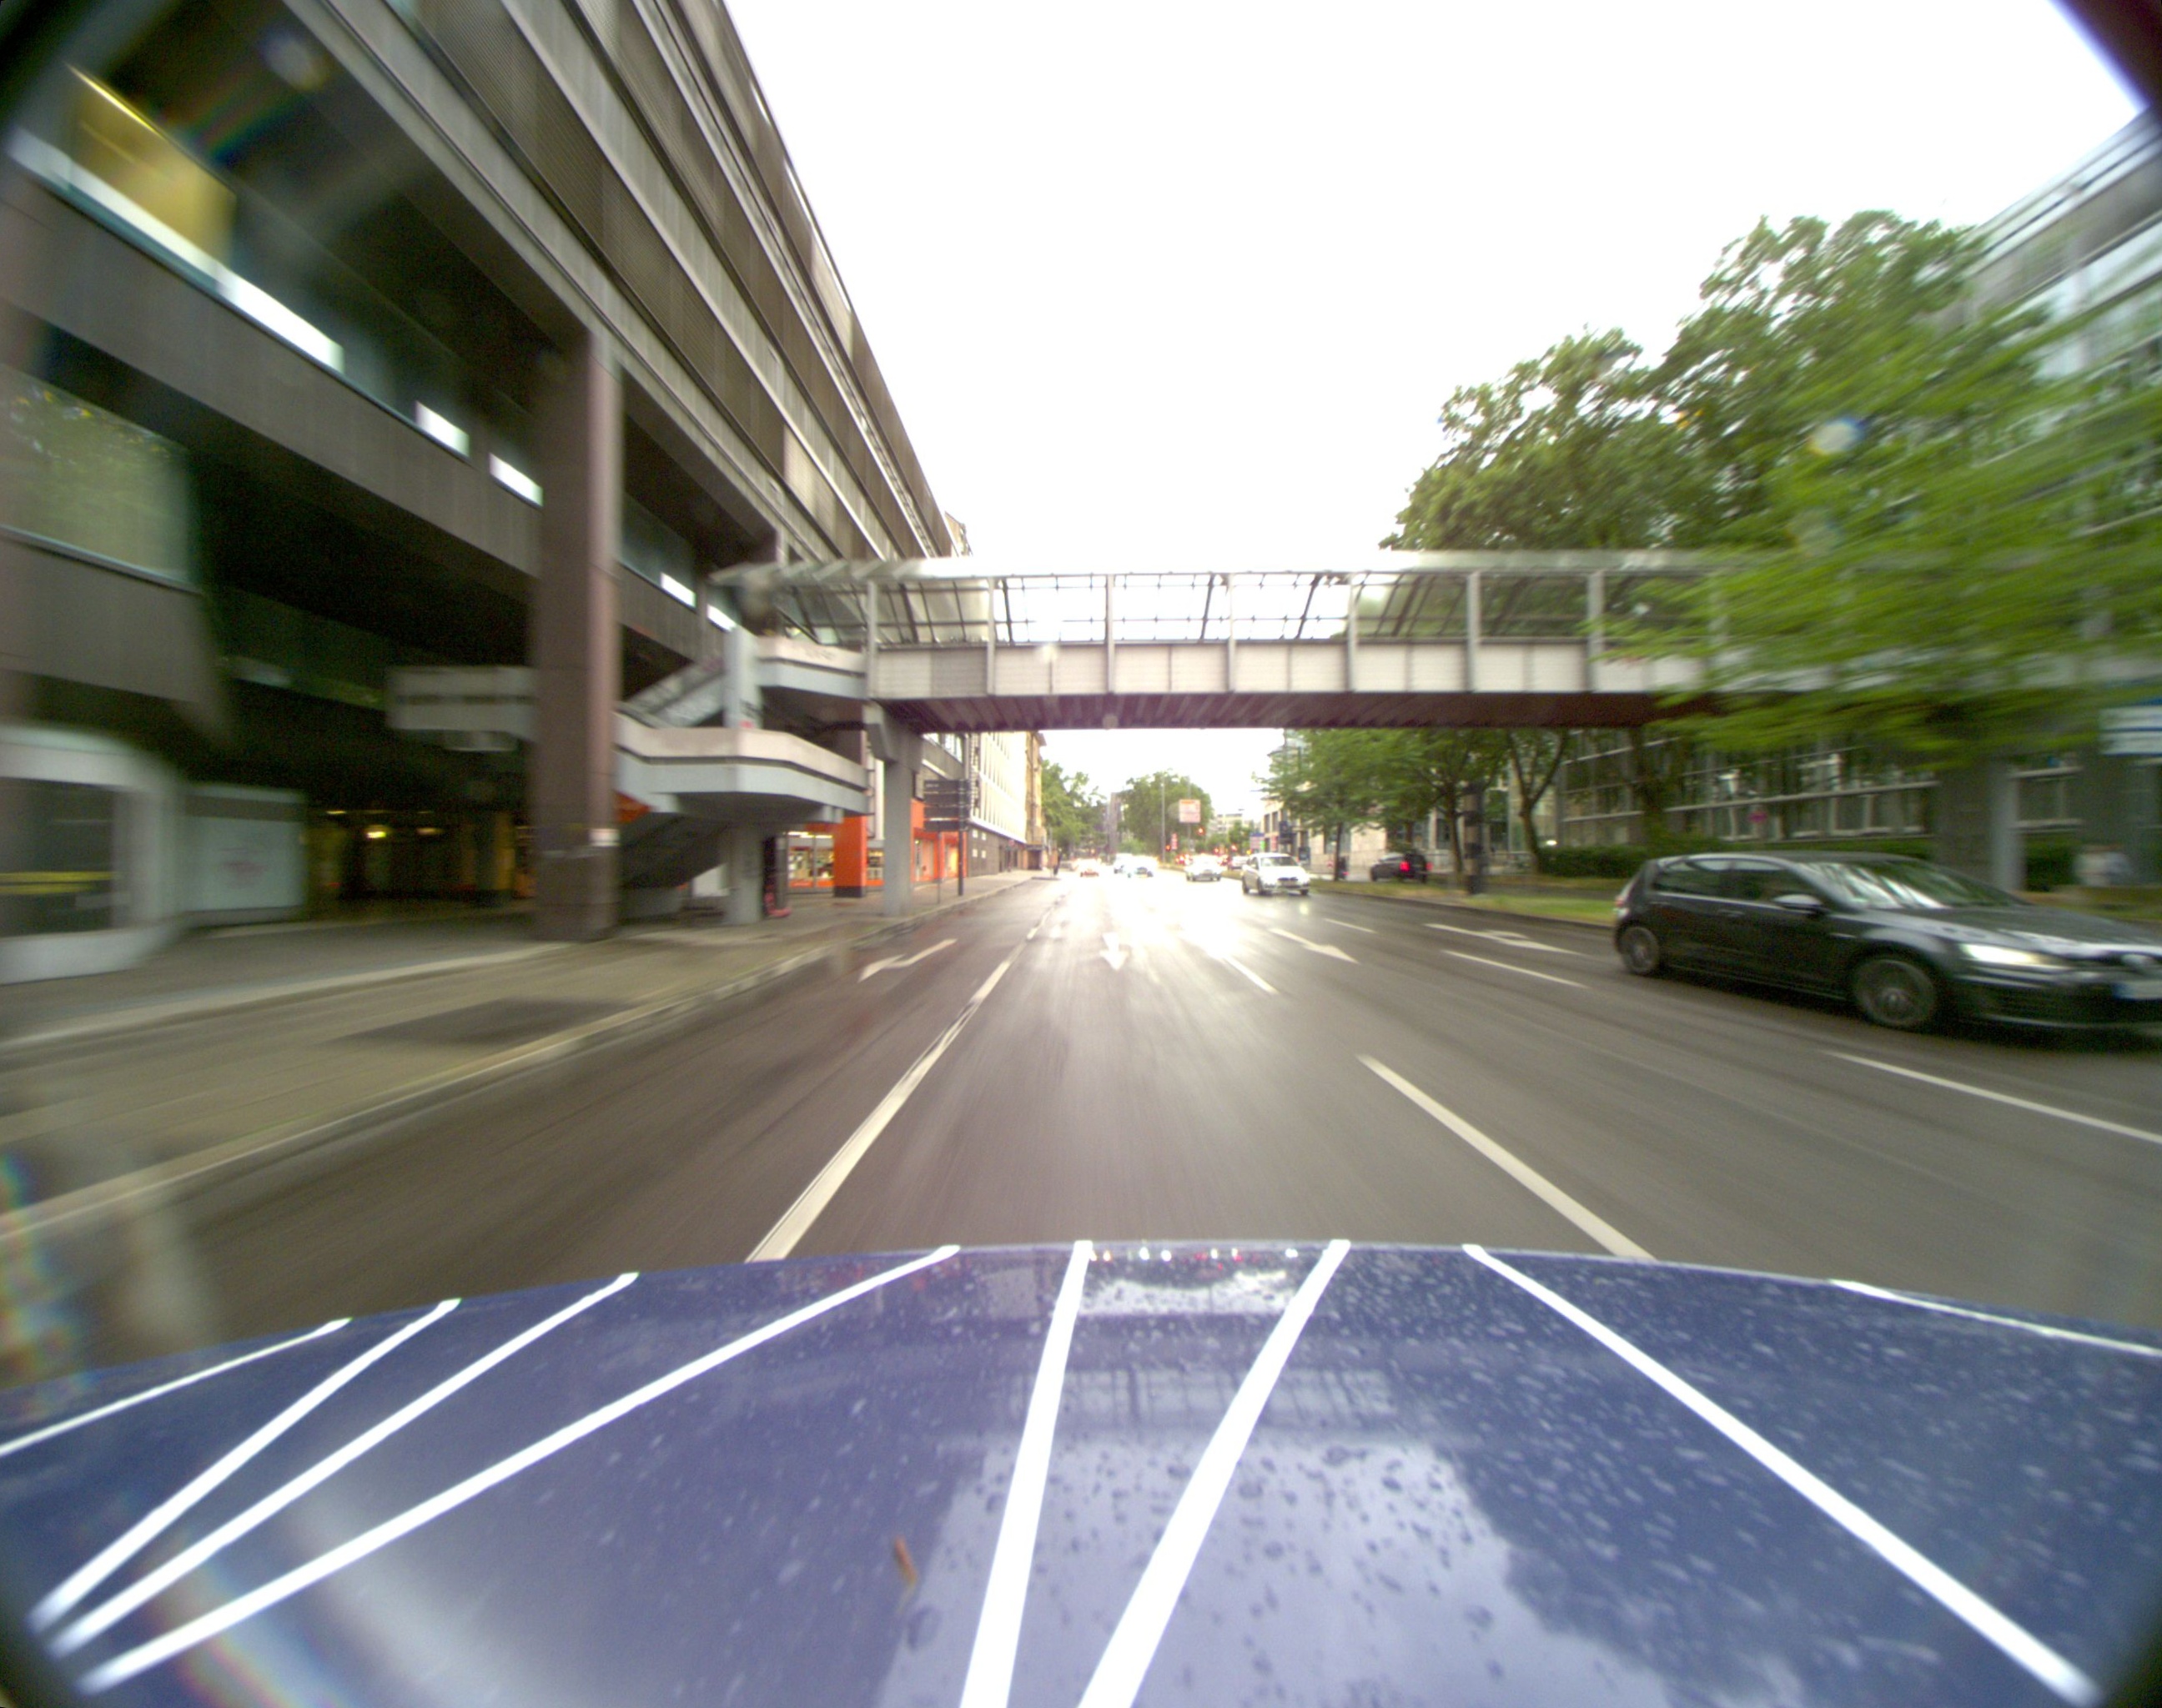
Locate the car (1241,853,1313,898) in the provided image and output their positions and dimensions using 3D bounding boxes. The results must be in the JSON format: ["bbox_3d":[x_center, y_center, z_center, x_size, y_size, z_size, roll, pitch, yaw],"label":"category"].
[{"bbox_3d":[7.477,0.777,29.381,1.781,1.587,4.000,-1,1,1],"label":"car"}]

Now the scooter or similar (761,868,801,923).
[{"bbox_3d":[-7.202,0.964,18.278,0.350,1.248,1.395,-1,0,1],"label":"scooter or similar"}]

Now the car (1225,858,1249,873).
[{"bbox_3d":[17.083,1.250,83.175,1.666,1.455,4.080,2,0,-1],"label":"car"}]

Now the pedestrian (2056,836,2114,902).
[{"bbox_3d":[27.805,0.405,21.054,0.598,1.797,0.760,-1,0,1],"label":"pedestrian"}]

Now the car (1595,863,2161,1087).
[{"bbox_3d":[7.224,0.838,7.195,1.789,1.444,4.122,-1,0,-2],"label":"car"}]

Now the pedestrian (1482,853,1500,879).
[{"bbox_3d":[28.188,0.840,52.238,0.736,1.797,0.802,-1,0,1],"label":"pedestrian"}]

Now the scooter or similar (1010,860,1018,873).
[{"bbox_3d":[-6.565,1.187,74.261,0.412,1.229,1.190,-1,0,10],"label":"scooter or similar"}]

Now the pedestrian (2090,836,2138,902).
[{"bbox_3d":[28.585,0.414,21.026,0.607,1.797,0.511,-1,0,1],"label":"pedestrian"}]

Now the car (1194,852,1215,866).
[{"bbox_3d":[15.235,0.633,93.947,1.878,1.670,4.680,0,1,1],"label":"car"}]

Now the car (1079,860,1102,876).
[{"bbox_3d":[0.860,1.170,64.793,1.716,1.274,3.495,0,0,4],"label":"car"}]

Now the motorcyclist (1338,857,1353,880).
[{"bbox_3d":[16.853,0.910,48.508,0.639,1.410,0.970,0,1,1],"label":"motorcyclist"}]

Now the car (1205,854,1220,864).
[{"bbox_3d":[20.115,0.708,116.240,1.730,1.424,4.396,0,1,4],"label":"car"}]

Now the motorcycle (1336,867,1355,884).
[{"bbox_3d":[16.842,1.353,48.436,0.586,1.015,1.805,-1,0,1],"label":"motorcycle"}]

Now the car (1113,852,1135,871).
[{"bbox_3d":[4.034,0.724,72.335,1.998,1.733,3.910,-1,0,2],"label":"car"}]

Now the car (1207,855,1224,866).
[{"bbox_3d":[18.603,0.927,105.272,1.695,1.430,4.759,0,1,1],"label":"car"}]

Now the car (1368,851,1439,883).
[{"bbox_3d":[19.547,0.734,46.338,2.005,1.758,5.184,3,0,-1],"label":"car"}]

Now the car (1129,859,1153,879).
[{"bbox_3d":[4.534,1.090,57.199,1.715,1.432,3.496,1,0,6],"label":"car"}]

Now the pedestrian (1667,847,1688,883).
[{"bbox_3d":[28.497,0.534,36.296,0.560,1.676,0.511,-1,0,1],"label":"pedestrian"}]

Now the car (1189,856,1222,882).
[{"bbox_3d":[7.546,0.857,46.199,1.611,1.433,3.495,-3,0,4],"label":"car"}]
